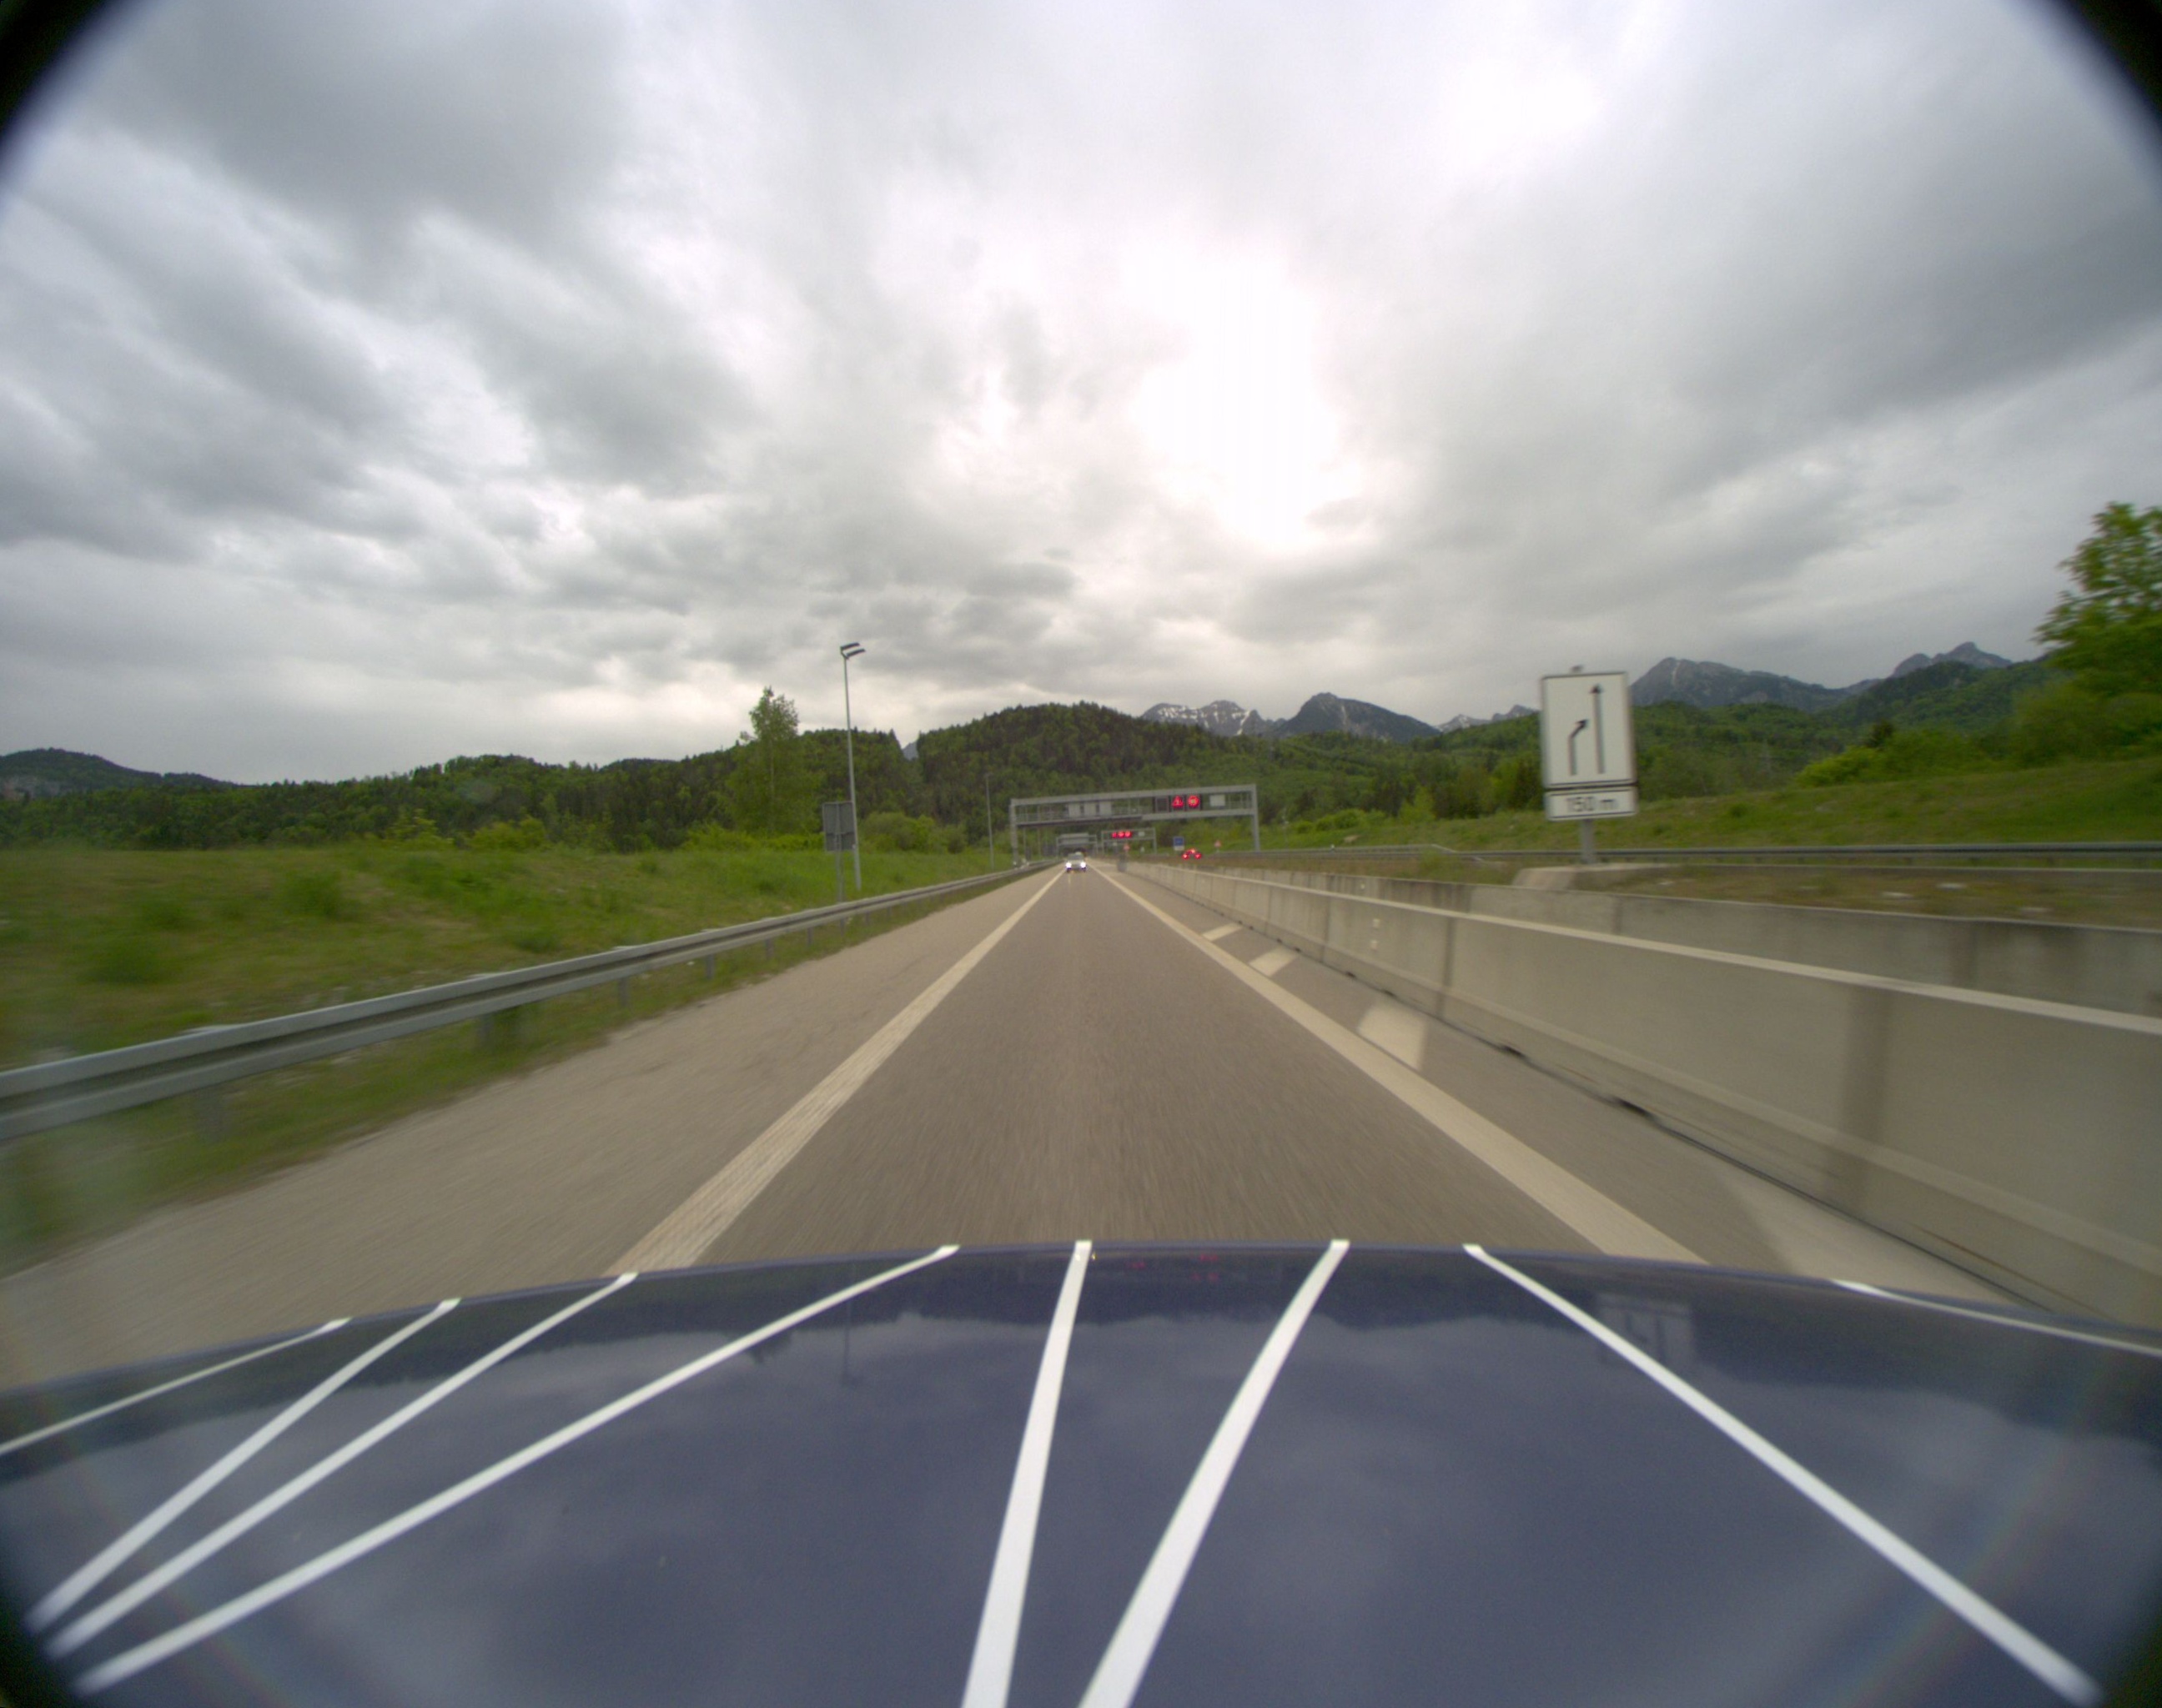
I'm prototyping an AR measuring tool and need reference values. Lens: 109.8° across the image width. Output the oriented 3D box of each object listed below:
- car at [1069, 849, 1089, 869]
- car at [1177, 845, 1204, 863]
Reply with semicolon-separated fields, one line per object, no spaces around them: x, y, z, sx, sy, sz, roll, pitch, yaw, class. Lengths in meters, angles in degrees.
-0.235;0.482;77.374;1.923;1.871;5.137;-1;1;0;car
11.361;0.036;79.151;1.883;1.726;5.751;-3;0;0;car
